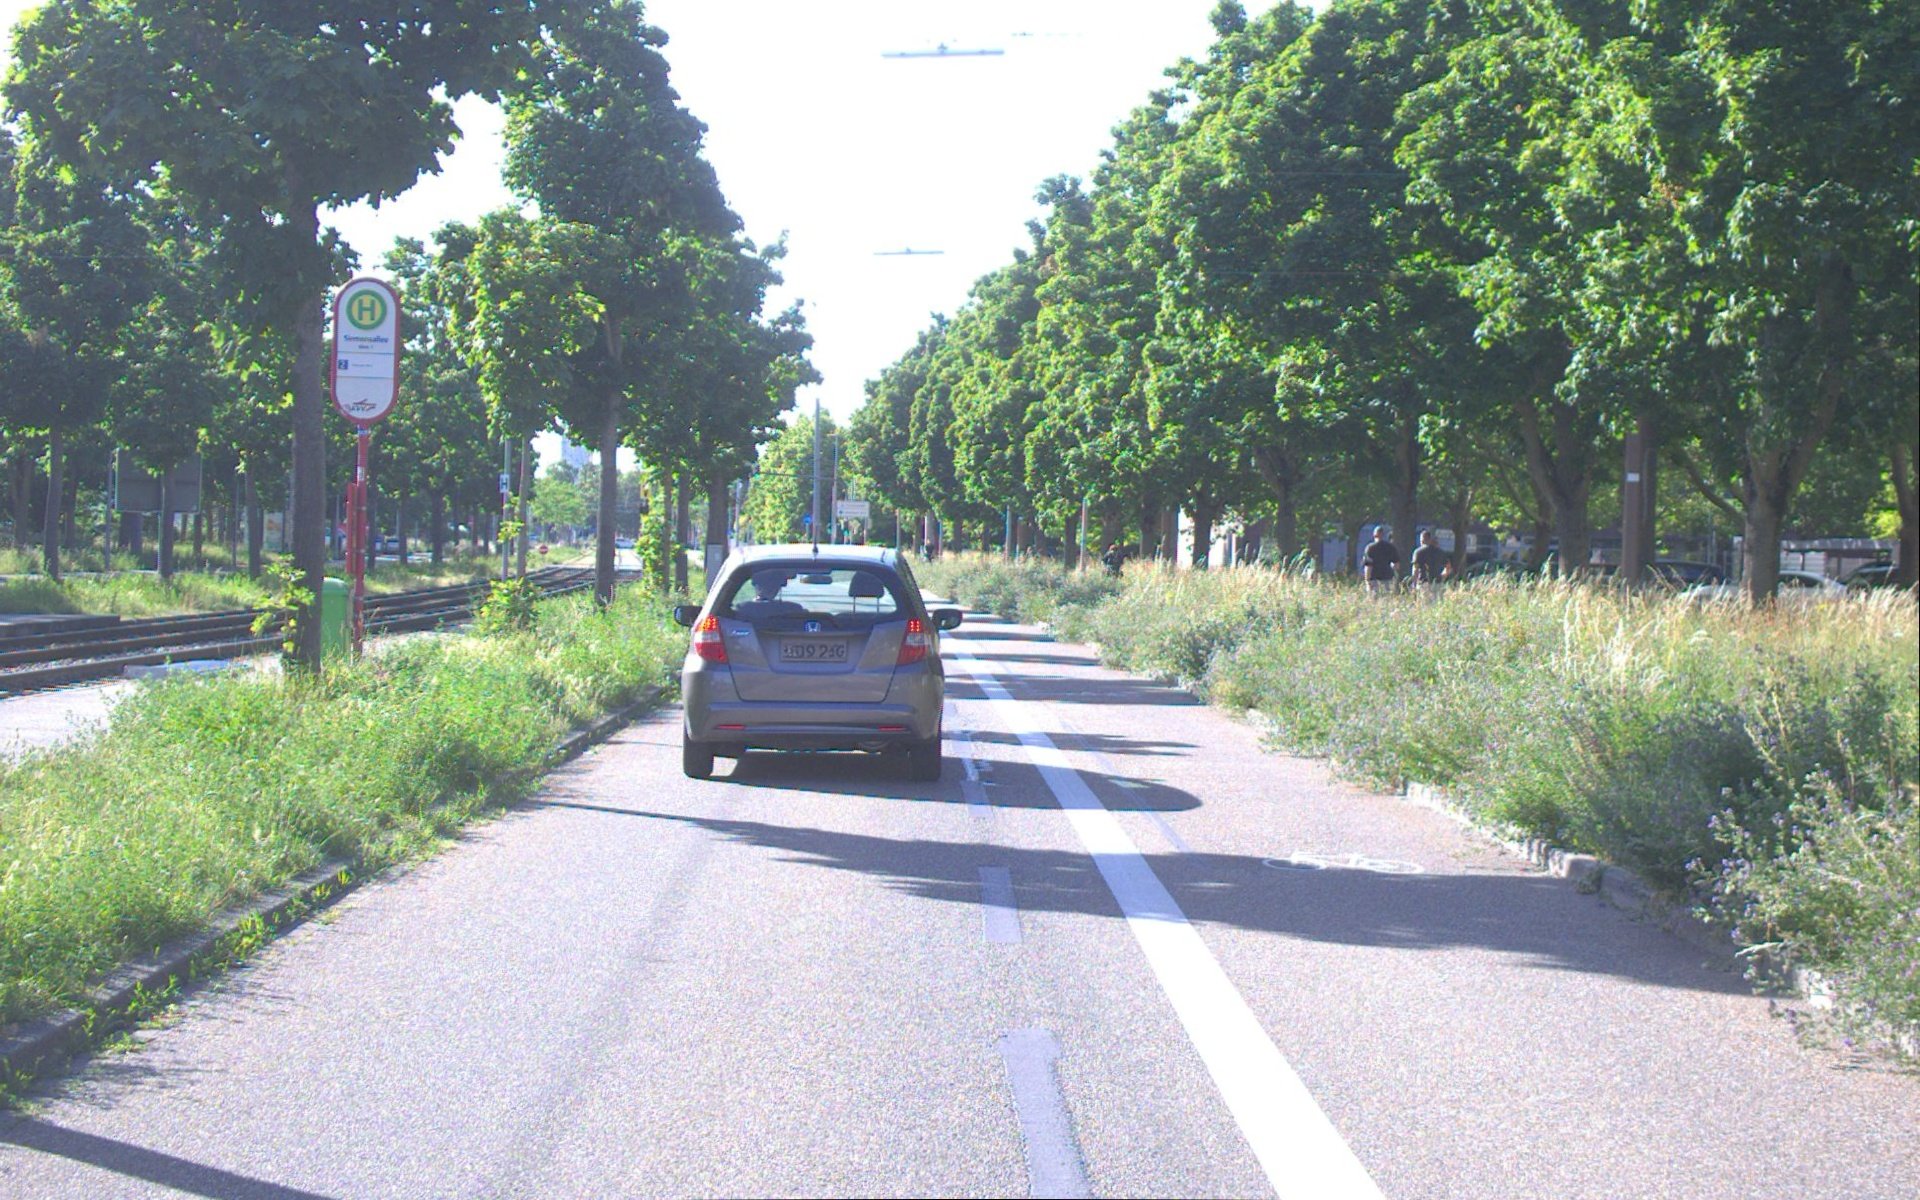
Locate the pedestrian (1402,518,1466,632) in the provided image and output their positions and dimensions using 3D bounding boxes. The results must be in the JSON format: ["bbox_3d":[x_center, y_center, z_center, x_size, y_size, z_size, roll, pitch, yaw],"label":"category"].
[{"bbox_3d":[7.952,-0.429,57.706,0.882,1.877,0.875,1,1,-3],"label":"pedestrian"}]

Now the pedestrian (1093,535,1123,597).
[{"bbox_3d":[4.040,-0.929,94.092,0.725,1.685,0.821,1,1,-1],"label":"pedestrian"}]

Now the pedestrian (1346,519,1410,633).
[{"bbox_3d":[7.011,-0.407,57.714,0.882,1.877,0.875,1,1,-3],"label":"pedestrian"}]

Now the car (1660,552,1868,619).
[{"bbox_3d":[20.119,-0.376,86.128,4.630,1.550,2.000,1,1,-5],"label":"car"}]

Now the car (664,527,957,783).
[{"bbox_3d":[-0.931,0.351,23.188,1.701,1.518,3.709,2,0,1],"label":"car"}]
